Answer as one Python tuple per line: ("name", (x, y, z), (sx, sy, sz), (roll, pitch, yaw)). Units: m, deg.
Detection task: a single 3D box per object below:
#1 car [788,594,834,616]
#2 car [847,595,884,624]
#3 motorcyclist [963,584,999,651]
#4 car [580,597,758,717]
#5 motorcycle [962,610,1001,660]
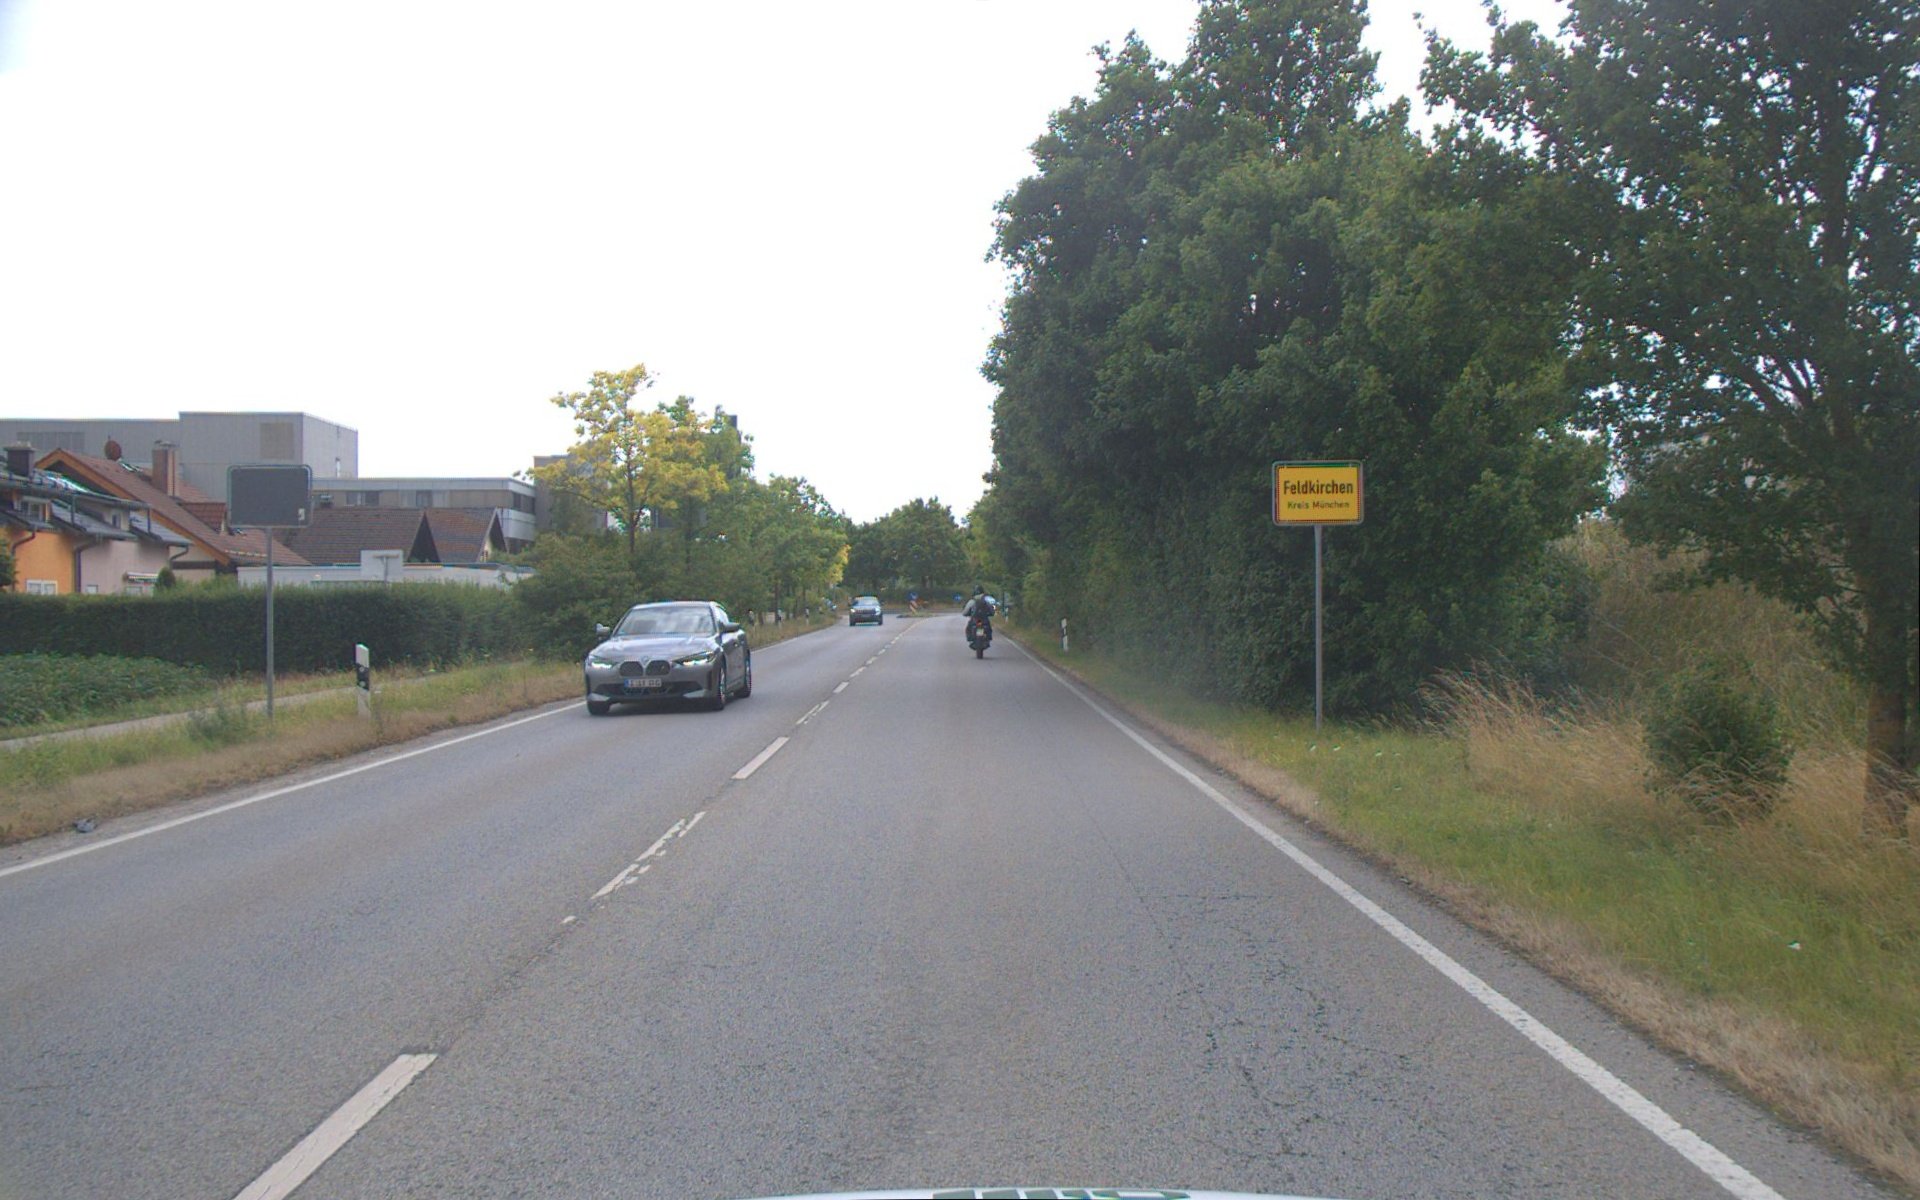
("car", (-12.538, 0.429, 139.084), (1.724, 1.561, 4.033), (-5, 0, -41))
("car", (-5.159, 0.501, 90.718), (1.779, 1.520, 4.203), (-2, 0, -1))
("motorcyclist", (0.519, 0.427, 41.602), (0.844, 1.652, 1.190), (0, 0, -1))
("car", (-4.019, 0.732, 23.520), (1.815, 1.490, 4.370), (-1, 0, -1))
("motorcycle", (0.526, 0.850, 41.444), (0.878, 1.178, 2.620), (0, 0, -1))
